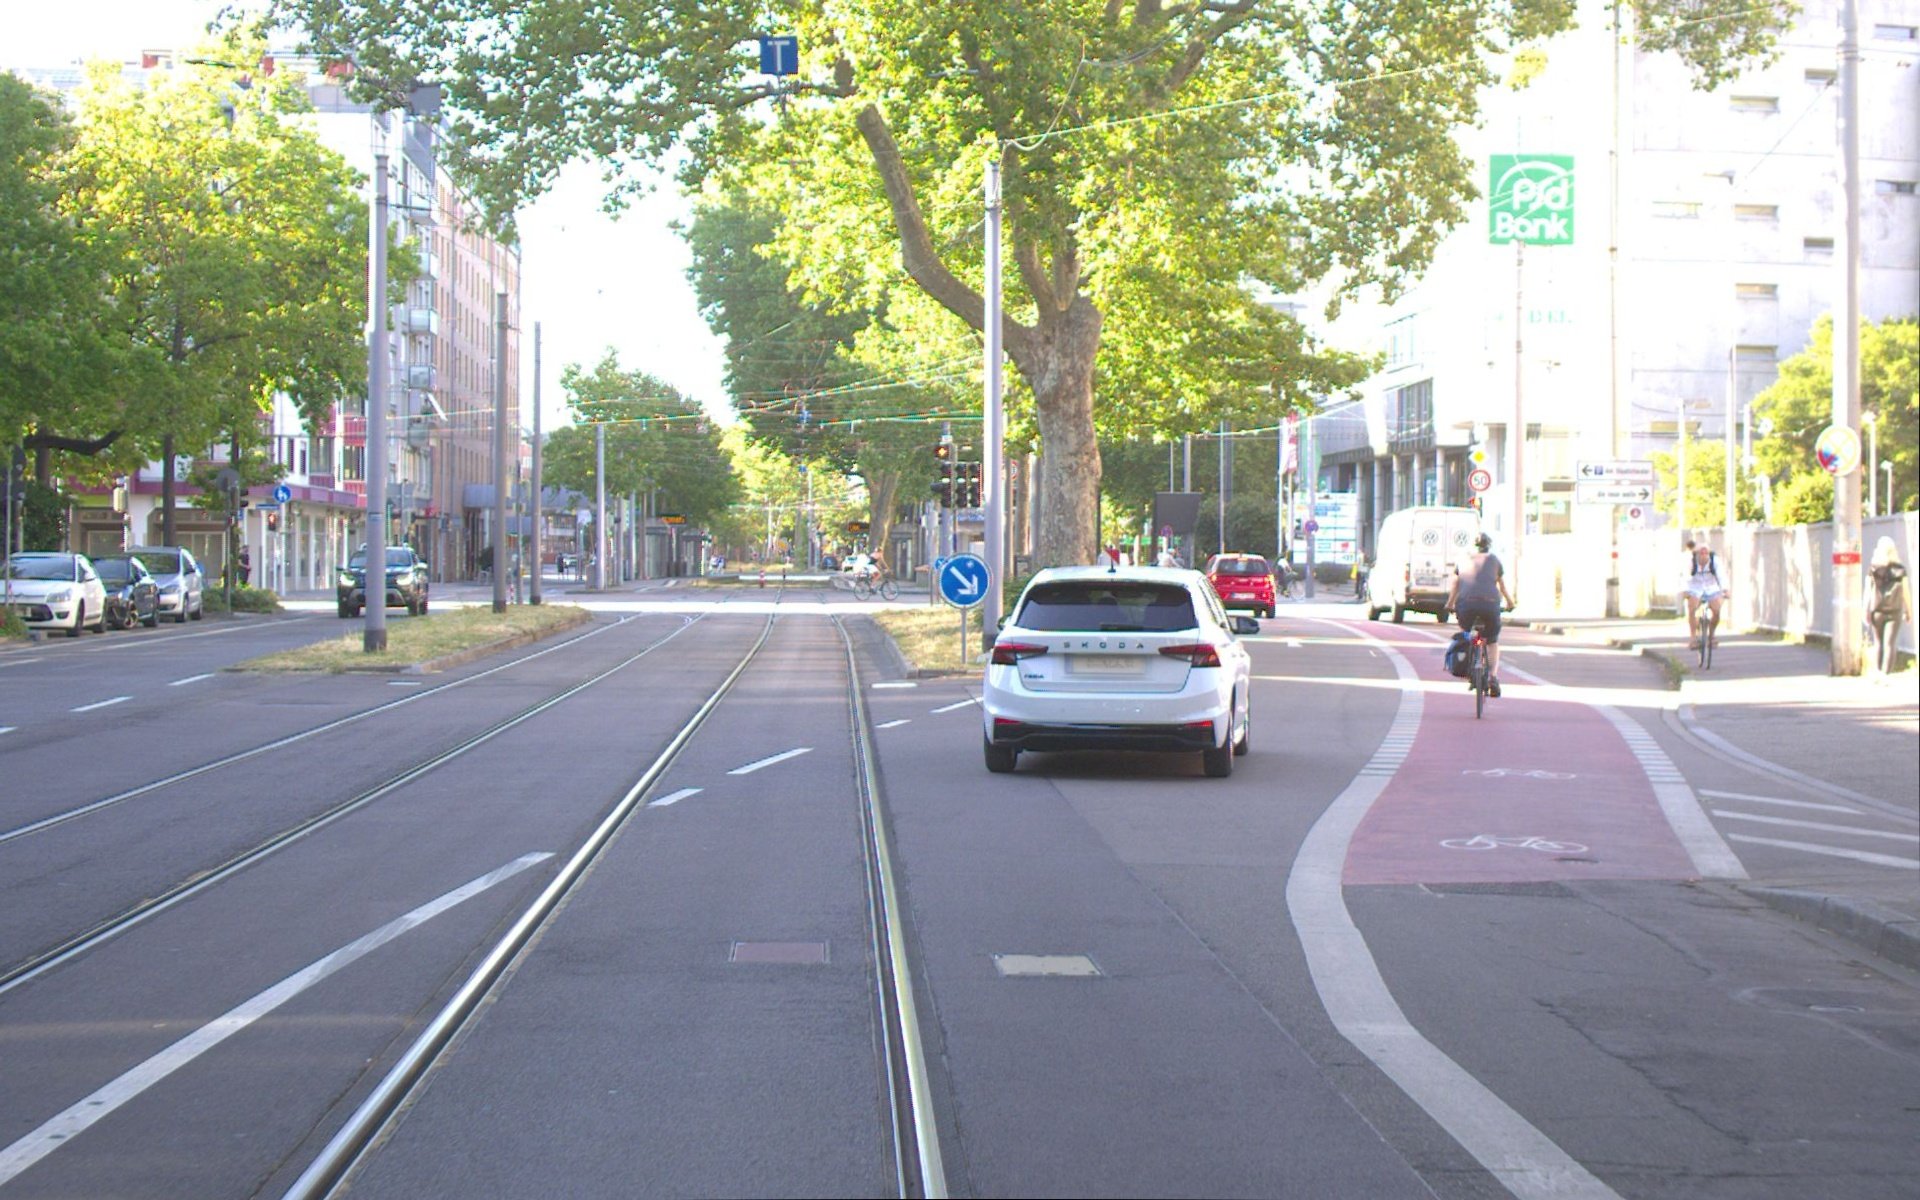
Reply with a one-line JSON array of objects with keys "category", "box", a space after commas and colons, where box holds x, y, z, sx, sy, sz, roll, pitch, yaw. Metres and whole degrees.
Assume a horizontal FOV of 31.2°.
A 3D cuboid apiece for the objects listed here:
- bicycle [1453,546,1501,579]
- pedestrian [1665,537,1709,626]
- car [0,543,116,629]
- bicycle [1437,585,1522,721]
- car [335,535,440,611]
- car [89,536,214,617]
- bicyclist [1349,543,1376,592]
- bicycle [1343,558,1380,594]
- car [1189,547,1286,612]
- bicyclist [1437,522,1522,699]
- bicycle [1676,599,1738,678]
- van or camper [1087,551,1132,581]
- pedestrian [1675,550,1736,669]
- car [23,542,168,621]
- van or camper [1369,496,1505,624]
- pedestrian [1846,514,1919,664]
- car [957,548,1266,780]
[{"category": "bicycle", "box": [22.393, -1.634, 148.915, 1.934, 1.438, 0.575, 0, 1, -3]}, {"category": "pedestrian", "box": [14.273, -0.367, 67.522, 0.786, 1.742, 0.772, 0, 1, 7]}, {"category": "car", "box": [-16.266, -0.278, 60.667, 1.993, 1.466, 4.406, 0, 1, -5]}, {"category": "bicycle", "box": [5.004, 0.490, 33.207, 0.744, 1.220, 2.155, 2, 1, 8]}, {"category": "car", "box": [-13.017, -0.643, 78.368, 1.993, 1.683, 4.311, 0, 1, -5]}, {"category": "car", "box": [-17.226, -0.514, 73.445, 1.993, 1.683, 4.179, 0, 1, -5]}, {"category": "bicyclist", "box": [13.374, -1.071, 114.333, 0.785, 1.629, 0.639, 0, 1, -5]}, {"category": "bicycle", "box": [13.363, -0.800, 114.475, 0.792, 1.157, 2.500, 0, 1, -4]}, {"category": "car", "box": [6.534, -0.502, 81.297, 1.839, 1.484, 3.717, 0, 1, -2]}, {"category": "bicyclist", "box": [5.002, 0.091, 33.129, 0.743, 1.663, 0.744, 2, 1, 8]}, {"category": "bicycle", "box": [10.380, 0.522, 47.817, 0.675, 1.028, 1.900, -2, 1, 8]}, {"category": "van or camper", "box": [8.981, -2.048, 206.827, 2.145, 1.744, 4.432, -1, 1, -5]}, {"category": "pedestrian", "box": [10.374, 0.121, 47.857, 0.669, 1.613, 1.102, -2, 1, 7]}, {"category": "car", "box": [-16.691, -0.389, 66.574, 1.993, 1.471, 4.651, 0, 1, -5]}, {"category": "van or camper", "box": [10.893, -0.929, 78.928, 2.269, 2.724, 6.346, 3, 1, 2]}, {"category": "pedestrian", "box": [10.497, -0.133, 39.088, 0.696, 1.678, 0.929, 0, 1, 22]}, {"category": "car", "box": [1.172, 0.399, 24.755, 1.802, 1.496, 3.980, 1, 1, 8]}]
